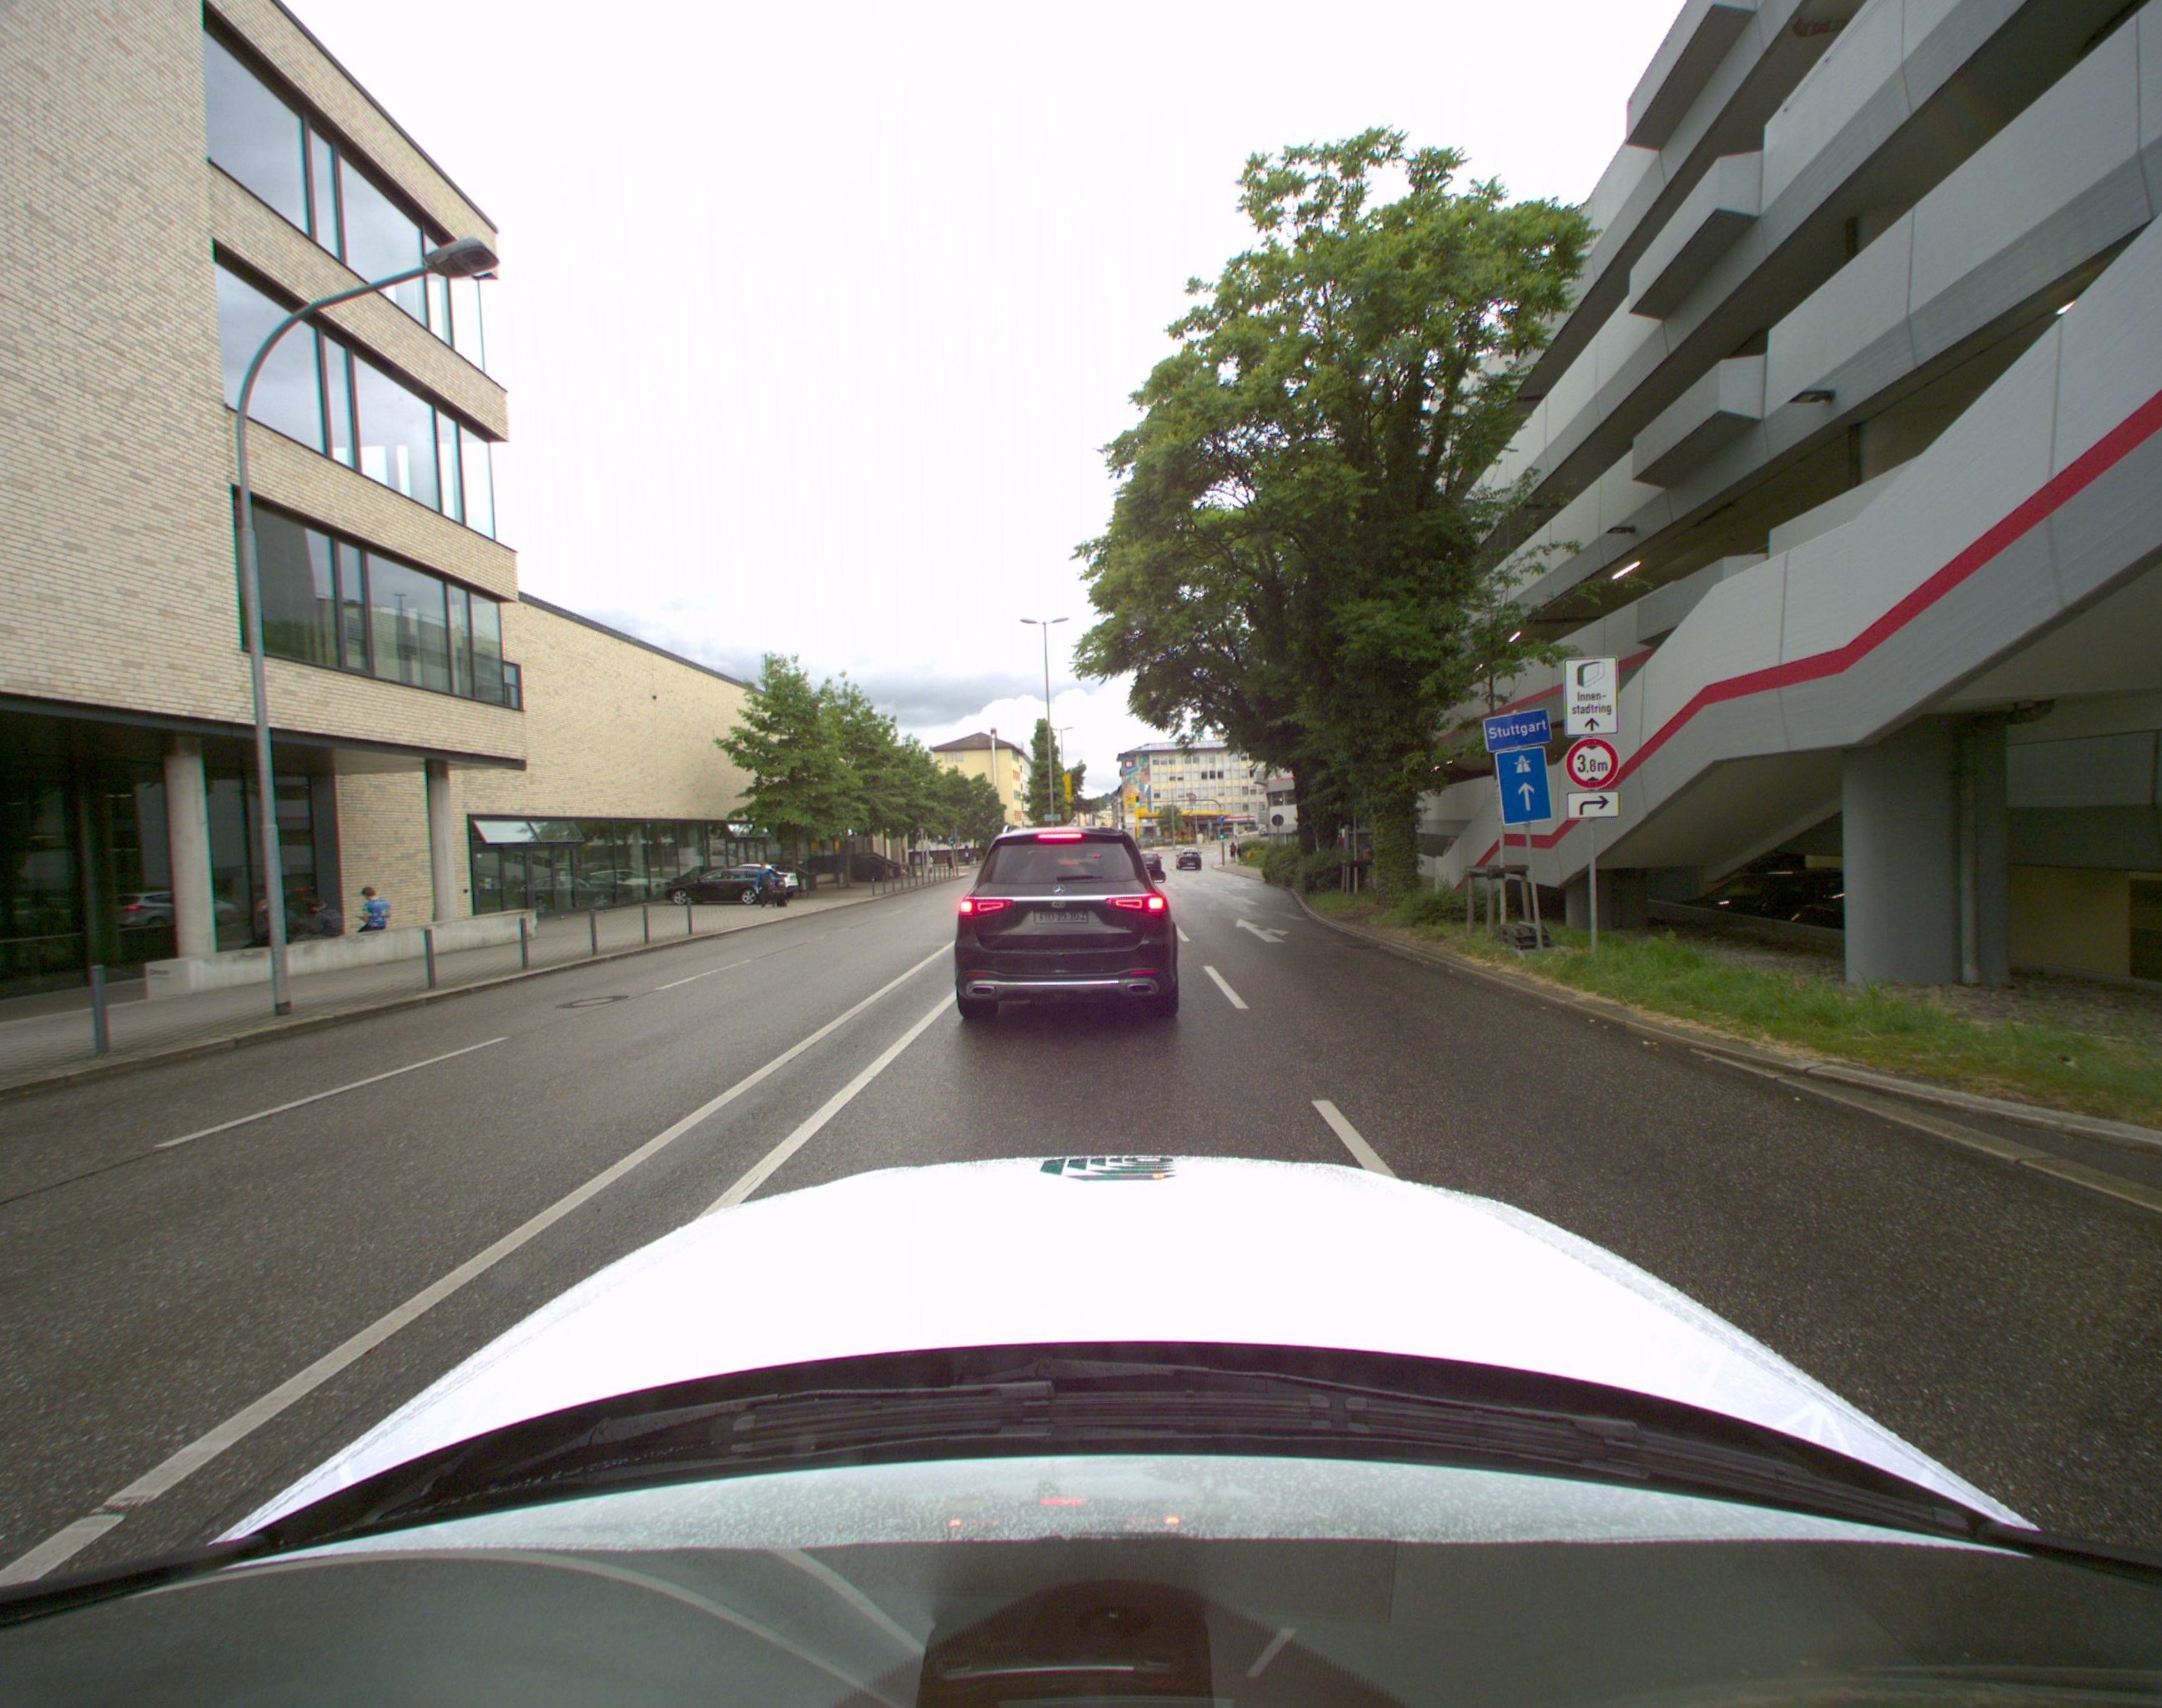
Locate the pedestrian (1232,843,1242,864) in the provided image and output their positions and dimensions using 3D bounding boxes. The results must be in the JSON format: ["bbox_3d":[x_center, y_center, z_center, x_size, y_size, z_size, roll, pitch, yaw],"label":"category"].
[{"bbox_3d":[12.495,-0.031,65.335,0.639,1.710,0.474,-2,-1,38],"label":"pedestrian"}]

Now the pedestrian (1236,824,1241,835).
[{"bbox_3d":[26.401,-4.082,136.333,0.521,1.727,0.693,-2,1,28],"label":"pedestrian"}]

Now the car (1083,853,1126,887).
[{"bbox_3d":[1.101,0.708,37.838,1.900,1.501,4.001,0,-1,2],"label":"car"}]

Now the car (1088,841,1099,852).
[{"bbox_3d":[2.405,-1.494,158.626,1.985,2.014,4.003,0,-1,3],"label":"car"}]

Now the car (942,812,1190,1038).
[{"bbox_3d":[-0.062,0.586,8.551,1.986,1.800,4.001,0,-1,2],"label":"car"}]

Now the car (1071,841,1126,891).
[{"bbox_3d":[0.701,0.445,31.573,1.986,1.800,4.001,0,-1,2],"label":"car"}]

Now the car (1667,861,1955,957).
[{"bbox_3d":[13.675,1.012,15.486,3.713,1.540,1.815,-1,3,7],"label":"car"}]

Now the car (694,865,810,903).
[{"bbox_3d":[-14.130,1.274,35.124,4.158,1.547,2.002,0,-1,3],"label":"car"}]

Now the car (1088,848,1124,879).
[{"bbox_3d":[1.373,0.527,44.393,1.900,1.586,4.001,0,-1,2],"label":"car"}]

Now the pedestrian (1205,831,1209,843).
[{"bbox_3d":[18.564,-2.496,120.127,0.570,1.697,0.631,0,-1,3],"label":"pedestrian"}]

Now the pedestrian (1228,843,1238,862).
[{"bbox_3d":[13.438,-0.119,71.981,0.716,1.690,0.455,0,-1,-5],"label":"pedestrian"}]

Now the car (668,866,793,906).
[{"bbox_3d":[-14.034,1.255,32.817,4.169,1.495,1.997,0,-1,-5],"label":"car"}]

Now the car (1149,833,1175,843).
[{"bbox_3d":[12.782,-2.512,128.492,1.747,1.376,3.952,-4,1,-42],"label":"car"}]

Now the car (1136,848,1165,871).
[{"bbox_3d":[4.831,0.363,57.277,1.789,1.525,4.057,0,1,2],"label":"car"}]

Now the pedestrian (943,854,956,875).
[{"bbox_3d":[-10.808,0.876,66.924,0.948,1.704,0.709,0,-1,-16],"label":"pedestrian"}]

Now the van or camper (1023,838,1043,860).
[{"bbox_3d":[-5.878,-0.592,101.258,2.096,2.582,5.905,-4,0,-1],"label":"van or camper"}]

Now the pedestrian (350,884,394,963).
[{"bbox_3d":[-13.652,1.330,15.687,0.448,1.475,0.463,0,-1,-4],"label":"pedestrian"}]

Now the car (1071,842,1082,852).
[{"bbox_3d":[-0.852,-1.400,167.379,1.985,2.014,4.003,0,-1,3],"label":"car"}]

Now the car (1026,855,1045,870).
[{"bbox_3d":[-4.841,0.900,87.090,1.735,1.470,3.882,-4,0,0],"label":"car"}]

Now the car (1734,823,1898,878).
[{"bbox_3d":[26.194,-0.113,29.163,3.958,1.783,1.823,-2,0,14],"label":"car"}]

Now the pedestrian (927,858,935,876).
[{"bbox_3d":[-13.766,1.183,74.652,0.641,1.665,1.017,0,-1,-4],"label":"pedestrian"}]

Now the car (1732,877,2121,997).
[{"bbox_3d":[12.940,1.240,12.723,3.966,1.624,1.842,-1,0,6],"label":"car"}]

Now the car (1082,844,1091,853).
[{"bbox_3d":[1.255,-1.267,185.886,1.985,2.014,4.003,0,-1,3],"label":"car"}]

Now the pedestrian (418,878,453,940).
[{"bbox_3d":[-15.606,1.316,19.701,0.440,1.475,0.528,0,-1,-3],"label":"pedestrian"}]

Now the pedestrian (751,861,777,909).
[{"bbox_3d":[-11.580,1.130,29.749,0.632,1.714,0.705,0,-1,4],"label":"pedestrian"}]

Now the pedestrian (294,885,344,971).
[{"bbox_3d":[-13.529,1.306,14.464,0.448,1.475,0.463,0,-1,-4],"label":"pedestrian"}]

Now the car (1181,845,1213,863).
[{"bbox_3d":[10.524,-0.004,73.521,1.738,1.549,4.023,-1,-1,26],"label":"car"}]

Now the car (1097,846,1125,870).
[{"bbox_3d":[2.089,0.285,57.017,1.900,1.586,4.001,0,-1,2],"label":"car"}]

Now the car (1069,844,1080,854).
[{"bbox_3d":[-1.184,-0.840,141.026,1.900,1.703,3.998,0,-1,-1],"label":"car"}]

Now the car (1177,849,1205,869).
[{"bbox_3d":[8.363,0.409,62.232,1.937,1.486,4.005,0,-1,5],"label":"car"}]

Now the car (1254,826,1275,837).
[{"bbox_3d":[31.094,-3.801,137.820,1.974,1.705,4.026,-2,1,35],"label":"car"}]

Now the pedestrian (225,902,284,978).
[{"bbox_3d":[-13.592,1.407,13.396,0.546,1.215,0.422,0,-1,4],"label":"pedestrian"}]
